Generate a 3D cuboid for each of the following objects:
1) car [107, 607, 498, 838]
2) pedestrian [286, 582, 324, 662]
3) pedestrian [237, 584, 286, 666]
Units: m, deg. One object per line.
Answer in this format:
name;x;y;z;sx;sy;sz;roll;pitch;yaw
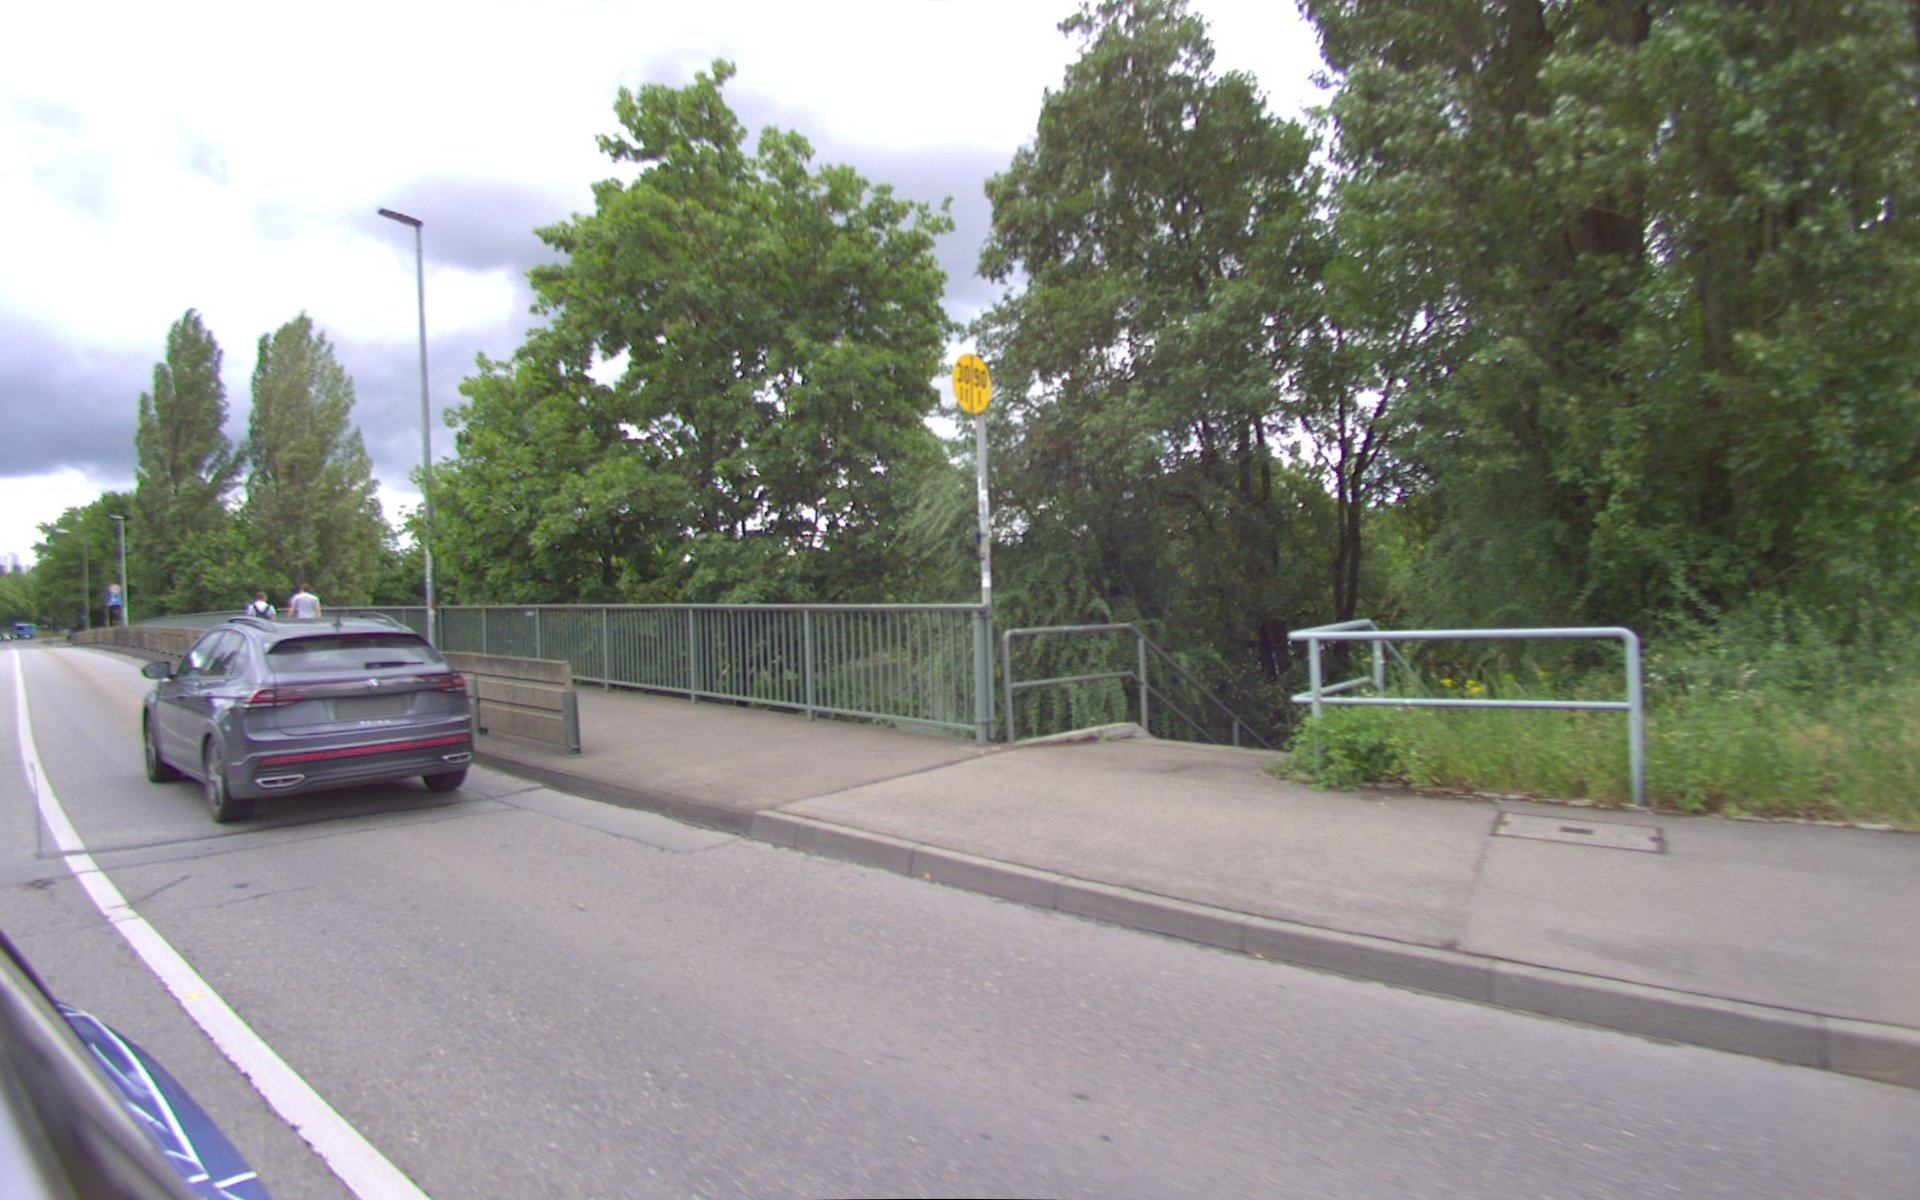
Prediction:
car;-5.606;0.830;8.446;3.939;1.479;1.698;-1;-1;41
pedestrian;-15.451;0.502;23.875;0.597;1.841;0.556;-3;2;-42
pedestrian;-16.260;0.564;23.558;0.770;1.841;0.727;-3;2;-42
